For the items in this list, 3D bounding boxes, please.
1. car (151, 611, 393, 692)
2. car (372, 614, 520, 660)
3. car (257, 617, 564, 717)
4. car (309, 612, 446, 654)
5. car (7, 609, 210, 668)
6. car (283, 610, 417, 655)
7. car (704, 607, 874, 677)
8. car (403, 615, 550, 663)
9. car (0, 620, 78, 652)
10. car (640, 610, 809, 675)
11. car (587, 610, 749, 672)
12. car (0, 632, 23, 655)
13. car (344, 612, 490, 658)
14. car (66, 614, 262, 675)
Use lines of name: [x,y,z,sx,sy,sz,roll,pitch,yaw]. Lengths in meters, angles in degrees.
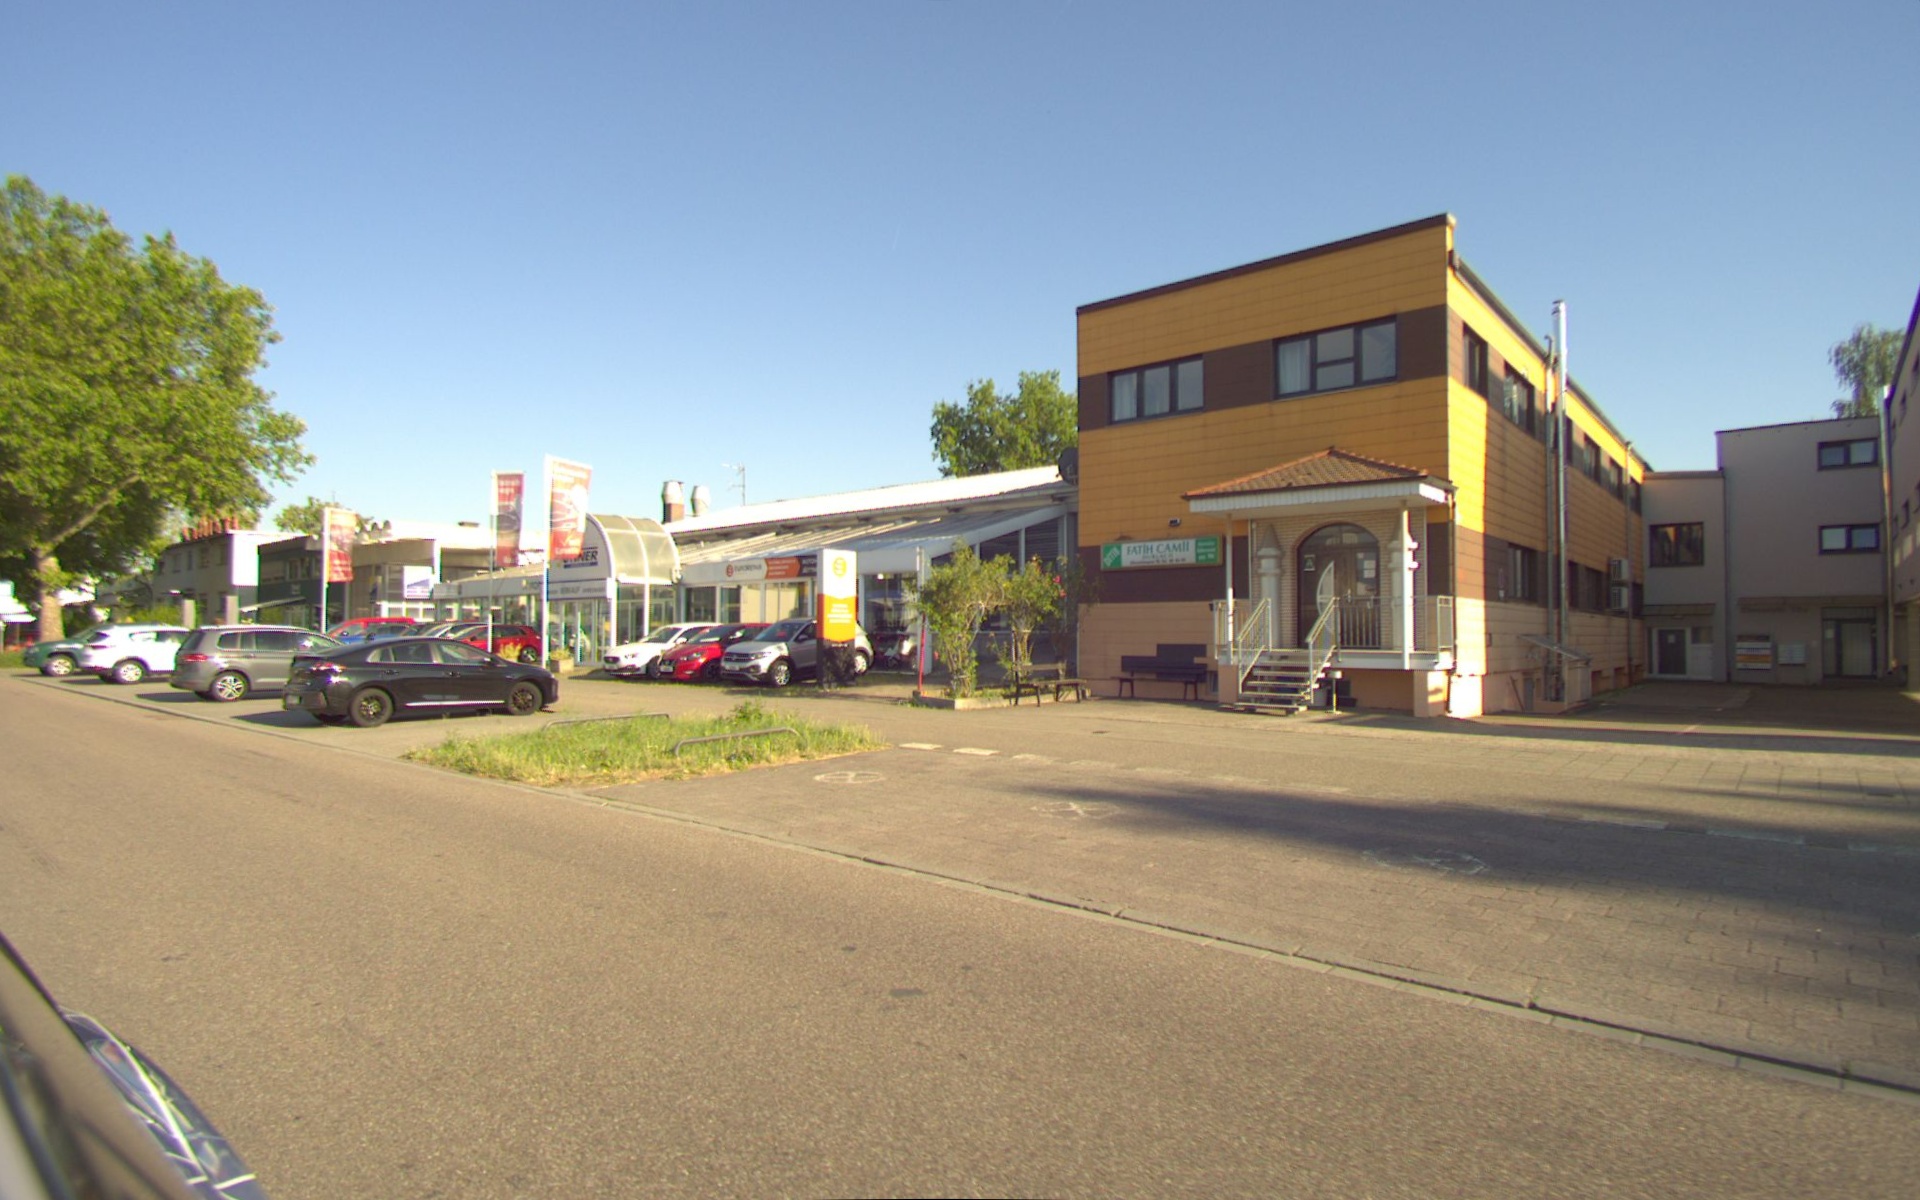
car: [-15.848,1.095,23.495,2.199,1.668,4.191,-1,-1,38]
car: [-19.243,1.339,38.055,1.926,1.604,4.616,-1,-1,39]
car: [-9.564,1.067,17.892,2.199,1.471,4.272,-1,-1,38]
car: [-24.667,1.366,42.976,1.998,1.646,4.667,-1,-1,39]
car: [-30.008,1.294,35.813,2.200,1.913,5.206,-1,-1,40]
car: [-26.883,1.379,44.755,1.998,1.833,4.699,-1,-1,39]
car: [-4.170,0.984,25.127,1.887,1.567,3.871,-1,-1,40]
car: [-17.247,1.348,36.276,1.834,1.565,4.420,-1,-1,39]
car: [-46.505,1.769,49.956,1.998,1.457,4.253,-1,0,40]
car: [-6.151,1.052,26.696,1.999,1.567,3.946,-1,-1,40]
car: [-8.090,1.082,28.278,1.999,1.567,3.946,-1,-1,40]
car: [-61.671,2.724,63.065,1.998,1.433,4.553,-2,-3,40]
car: [-21.193,1.334,39.650,1.998,1.655,4.672,-1,-1,39]
car: [-23.925,1.278,30.526,2.199,1.668,4.262,-1,-1,38]
